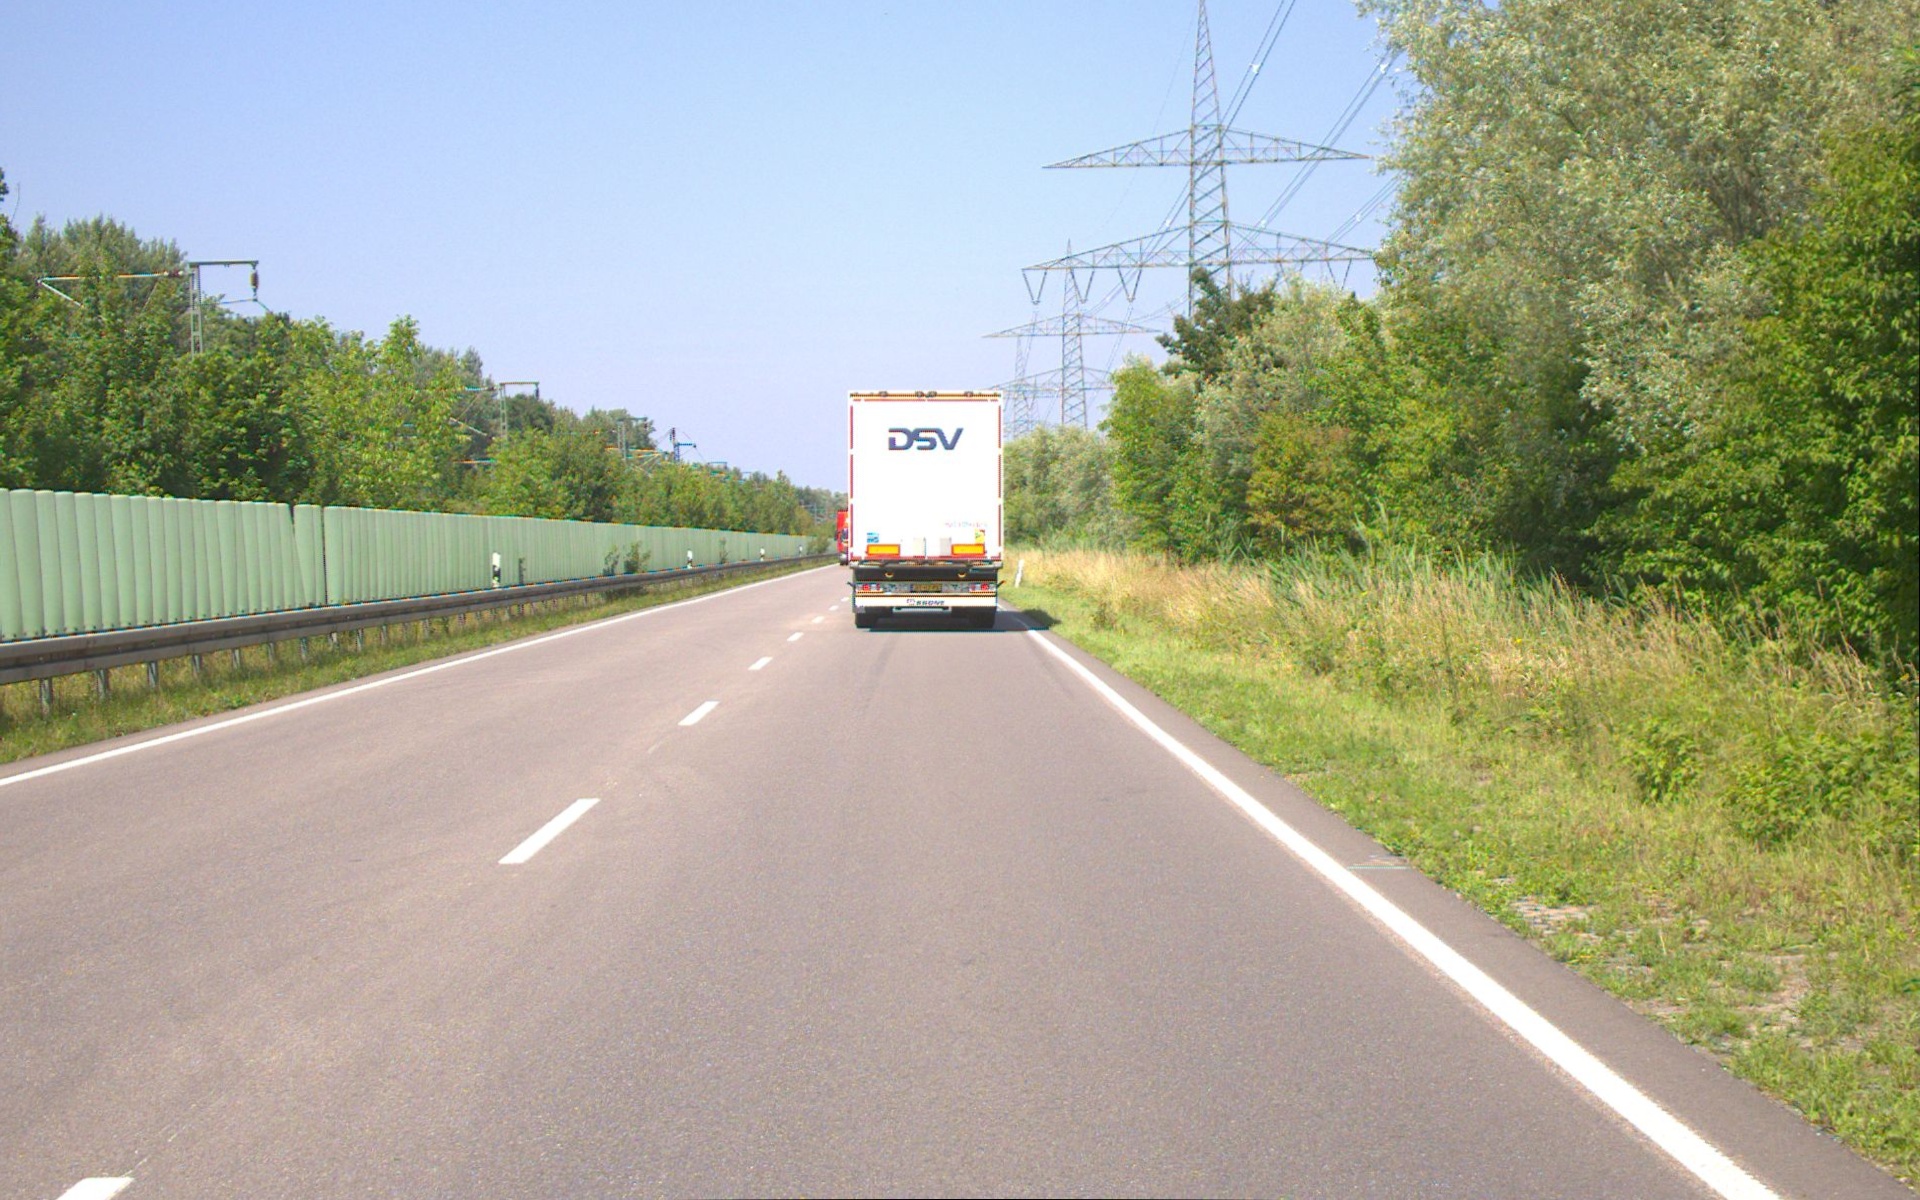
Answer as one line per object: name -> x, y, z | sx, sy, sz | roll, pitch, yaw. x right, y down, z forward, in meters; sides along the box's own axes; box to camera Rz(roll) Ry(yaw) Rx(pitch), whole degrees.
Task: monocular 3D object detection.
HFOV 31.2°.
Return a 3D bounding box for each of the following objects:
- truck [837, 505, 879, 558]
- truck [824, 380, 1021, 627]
truck -> -6.954, -4.680, 235.069 | 2.734, 3.586, 9.528 | 0, 1, -1
truck -> -0.736, -1.703, 62.340 | 3.192, 4.029, 12.008 | 0, 1, -1
